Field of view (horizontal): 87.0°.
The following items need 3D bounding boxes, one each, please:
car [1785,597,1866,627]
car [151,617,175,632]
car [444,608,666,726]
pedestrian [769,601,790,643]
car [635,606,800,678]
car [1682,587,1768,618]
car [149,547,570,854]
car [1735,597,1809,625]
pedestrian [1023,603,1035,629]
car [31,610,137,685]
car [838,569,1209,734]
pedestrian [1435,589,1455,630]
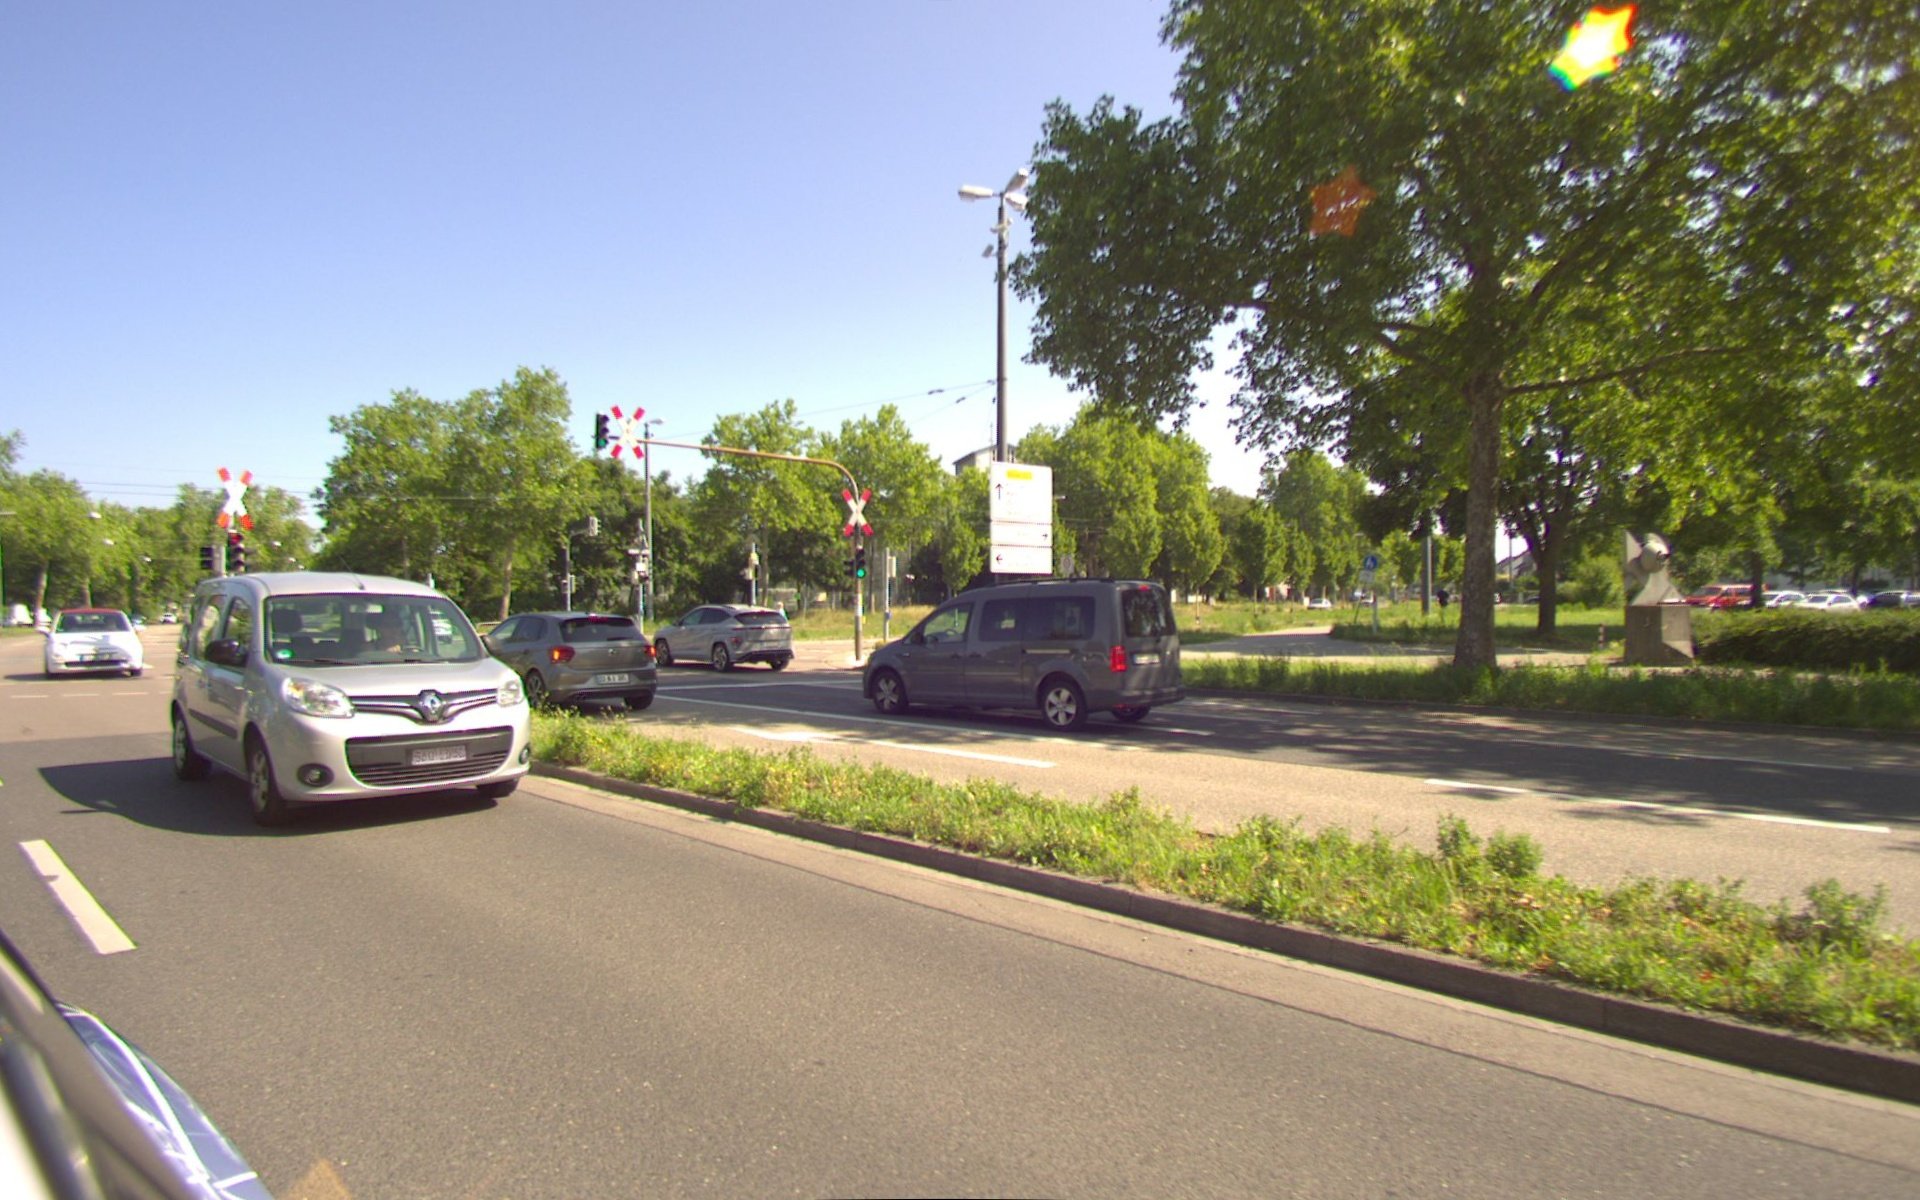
[{"bbox_3d":[44.373,0.595,51.899,3.285,1.457,1.452,-1,0,-14],"label":"car"},{"bbox_3d":[-114.915,3.530,145.939,1.965,2.029,4.013,0,-1,-27],"label":"car"},{"bbox_3d":[-6.197,0.914,15.232,1.674,1.519,4.132,0,-1,-44],"label":"car"},{"bbox_3d":[-6.727,0.812,37.721,0.663,1.573,0.364,-1,-1,18],"label":"pedestrian"},{"bbox_3d":[-6.009,1.013,24.807,4.431,1.601,1.691,-2,-3,41],"label":"car"},{"bbox_3d":[43.430,0.142,57.478,3.920,1.715,1.820,-1,0,-14],"label":"car"},{"bbox_3d":[-5.101,0.647,8.310,4.376,1.854,1.851,-1,-2,44],"label":"car"},{"bbox_3d":[43.695,0.572,54.481,3.285,1.457,1.352,-1,0,-14],"label":"car"},{"bbox_3d":[5.643,1.299,83.192,0.755,2.106,0.610,-1,-1,43],"label":"pedestrian"},{"bbox_3d":[-19.795,1.023,22.887,1.664,1.502,4.381,-1,-1,-41],"label":"car"},{"bbox_3d":[0.667,0.643,13.609,4.991,1.853,1.668,-2,-2,41],"label":"car"},{"bbox_3d":[24.580,0.491,51.283,0.712,2.029,0.784,-2,-2,43],"label":"pedestrian"}]
